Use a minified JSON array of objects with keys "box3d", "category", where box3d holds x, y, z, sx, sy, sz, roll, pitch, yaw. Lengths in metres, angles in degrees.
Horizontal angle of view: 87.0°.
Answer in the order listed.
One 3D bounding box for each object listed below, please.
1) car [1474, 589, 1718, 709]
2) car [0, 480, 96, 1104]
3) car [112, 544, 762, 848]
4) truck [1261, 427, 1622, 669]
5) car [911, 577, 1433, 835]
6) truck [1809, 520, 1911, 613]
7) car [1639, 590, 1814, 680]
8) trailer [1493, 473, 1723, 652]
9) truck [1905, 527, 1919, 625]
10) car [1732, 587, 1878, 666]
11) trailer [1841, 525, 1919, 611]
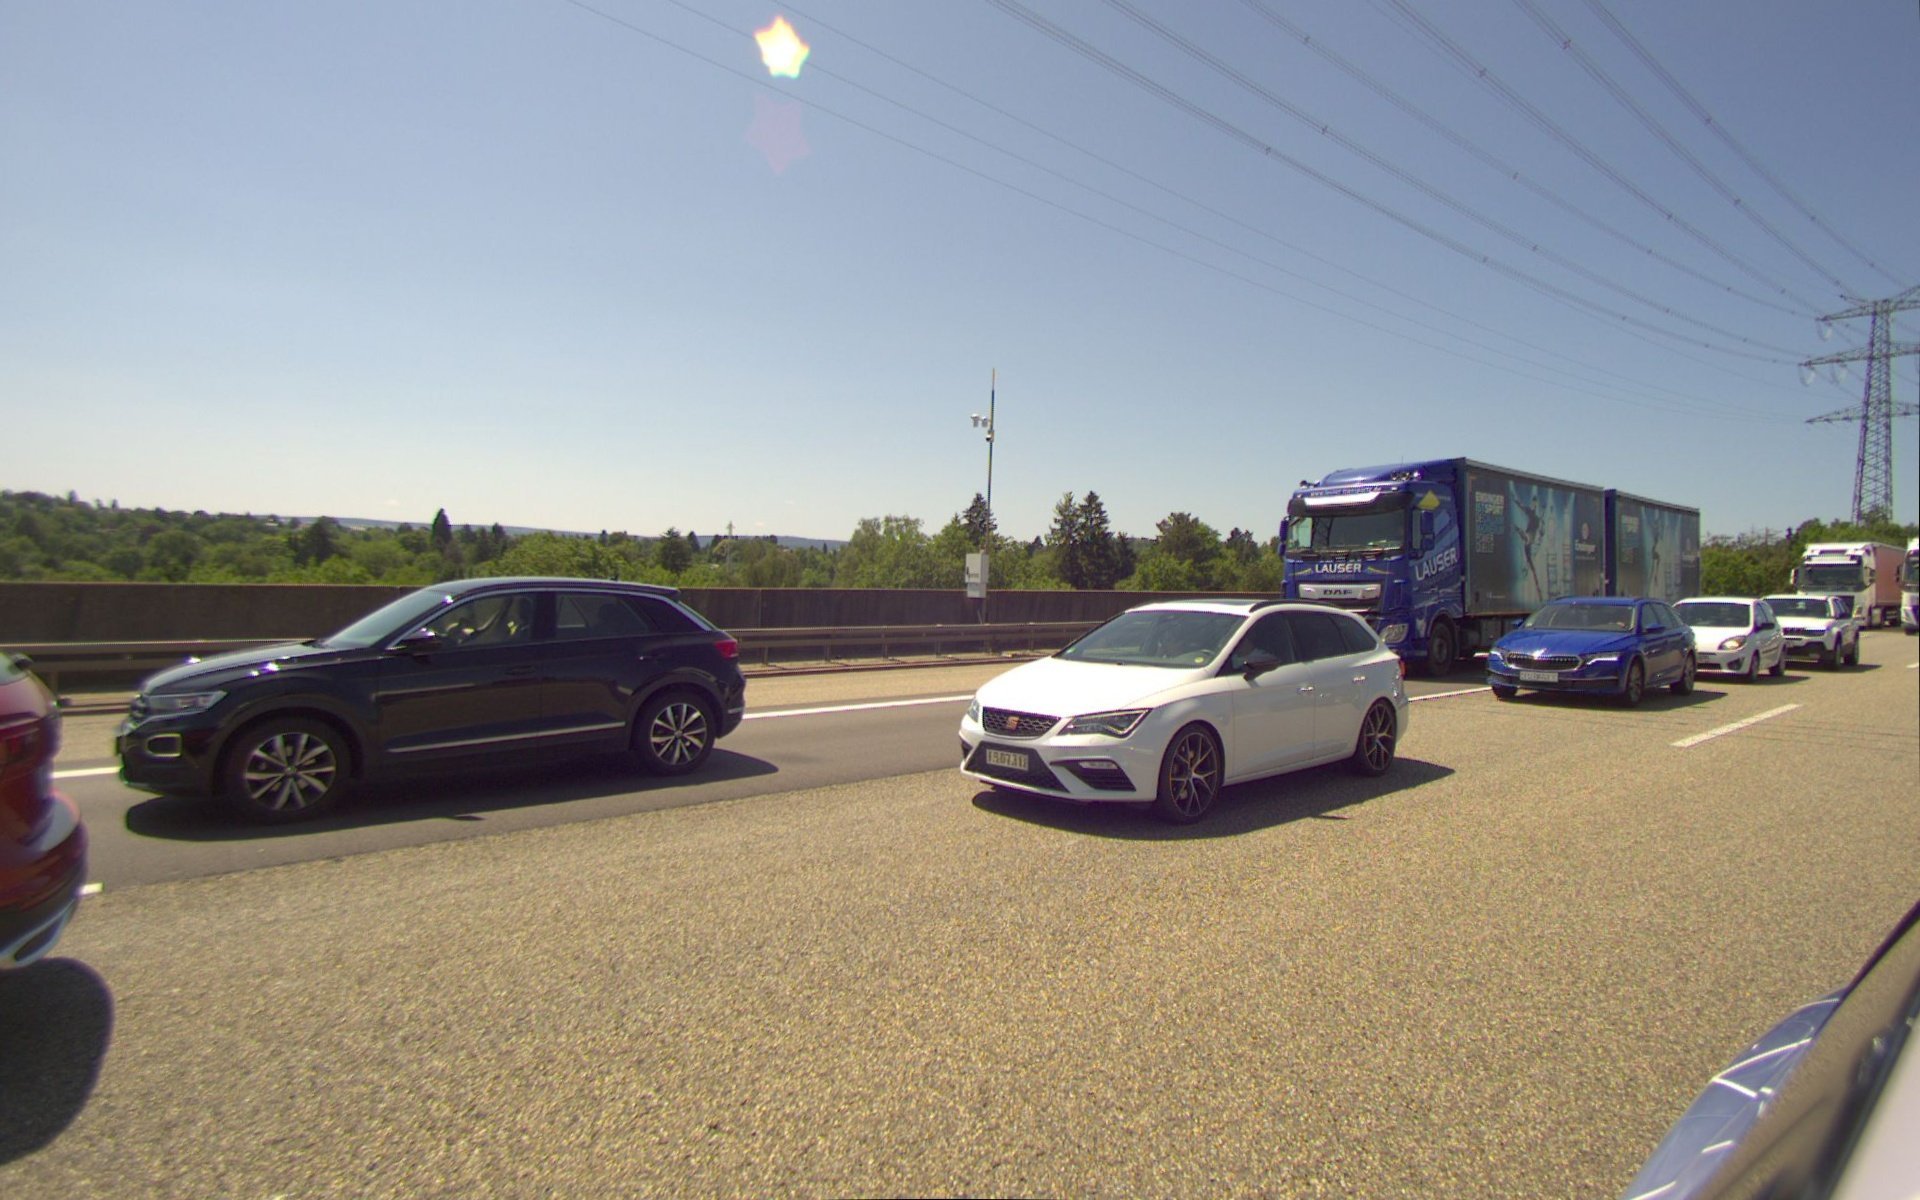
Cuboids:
[{"box3d":[9.299,0.586,14.650,4.483,1.470,1.712,-1,1,-40],"category":"car"},{"box3d":[-4.621,0.545,2.154,4.210,1.700,1.711,-1,0,-41],"category":"car"},{"box3d":[-3.690,0.504,7.571,4.046,1.675,1.711,-1,1,-41],"category":"car"},{"box3d":[10.466,-0.926,21.171,10.210,3.999,2.857,-1,0,-40],"category":"truck"},{"box3d":[1.851,0.606,7.857,4.352,1.470,1.711,0,0,-41],"category":"car"},{"box3d":[42.473,-1.523,47.687,8.121,4.037,2.606,-1,0,-41],"category":"truck"},{"box3d":[14.152,0.555,18.614,4.071,1.470,1.712,-1,1,-40],"category":"car"},{"box3d":[17.630,-0.917,27.237,8.485,4.140,2.833,-1,0,-40],"category":"trailer"},{"box3d":[41.626,-0.981,41.912,8.121,3.874,2.847,-1,0,-41],"category":"truck"},{"box3d":[18.054,0.493,21.560,4.071,1.529,1.712,-1,1,-40],"category":"car"},{"box3d":[48.915,-1.622,53.333,8.927,4.169,2.606,-1,0,-41],"category":"trailer"}]
